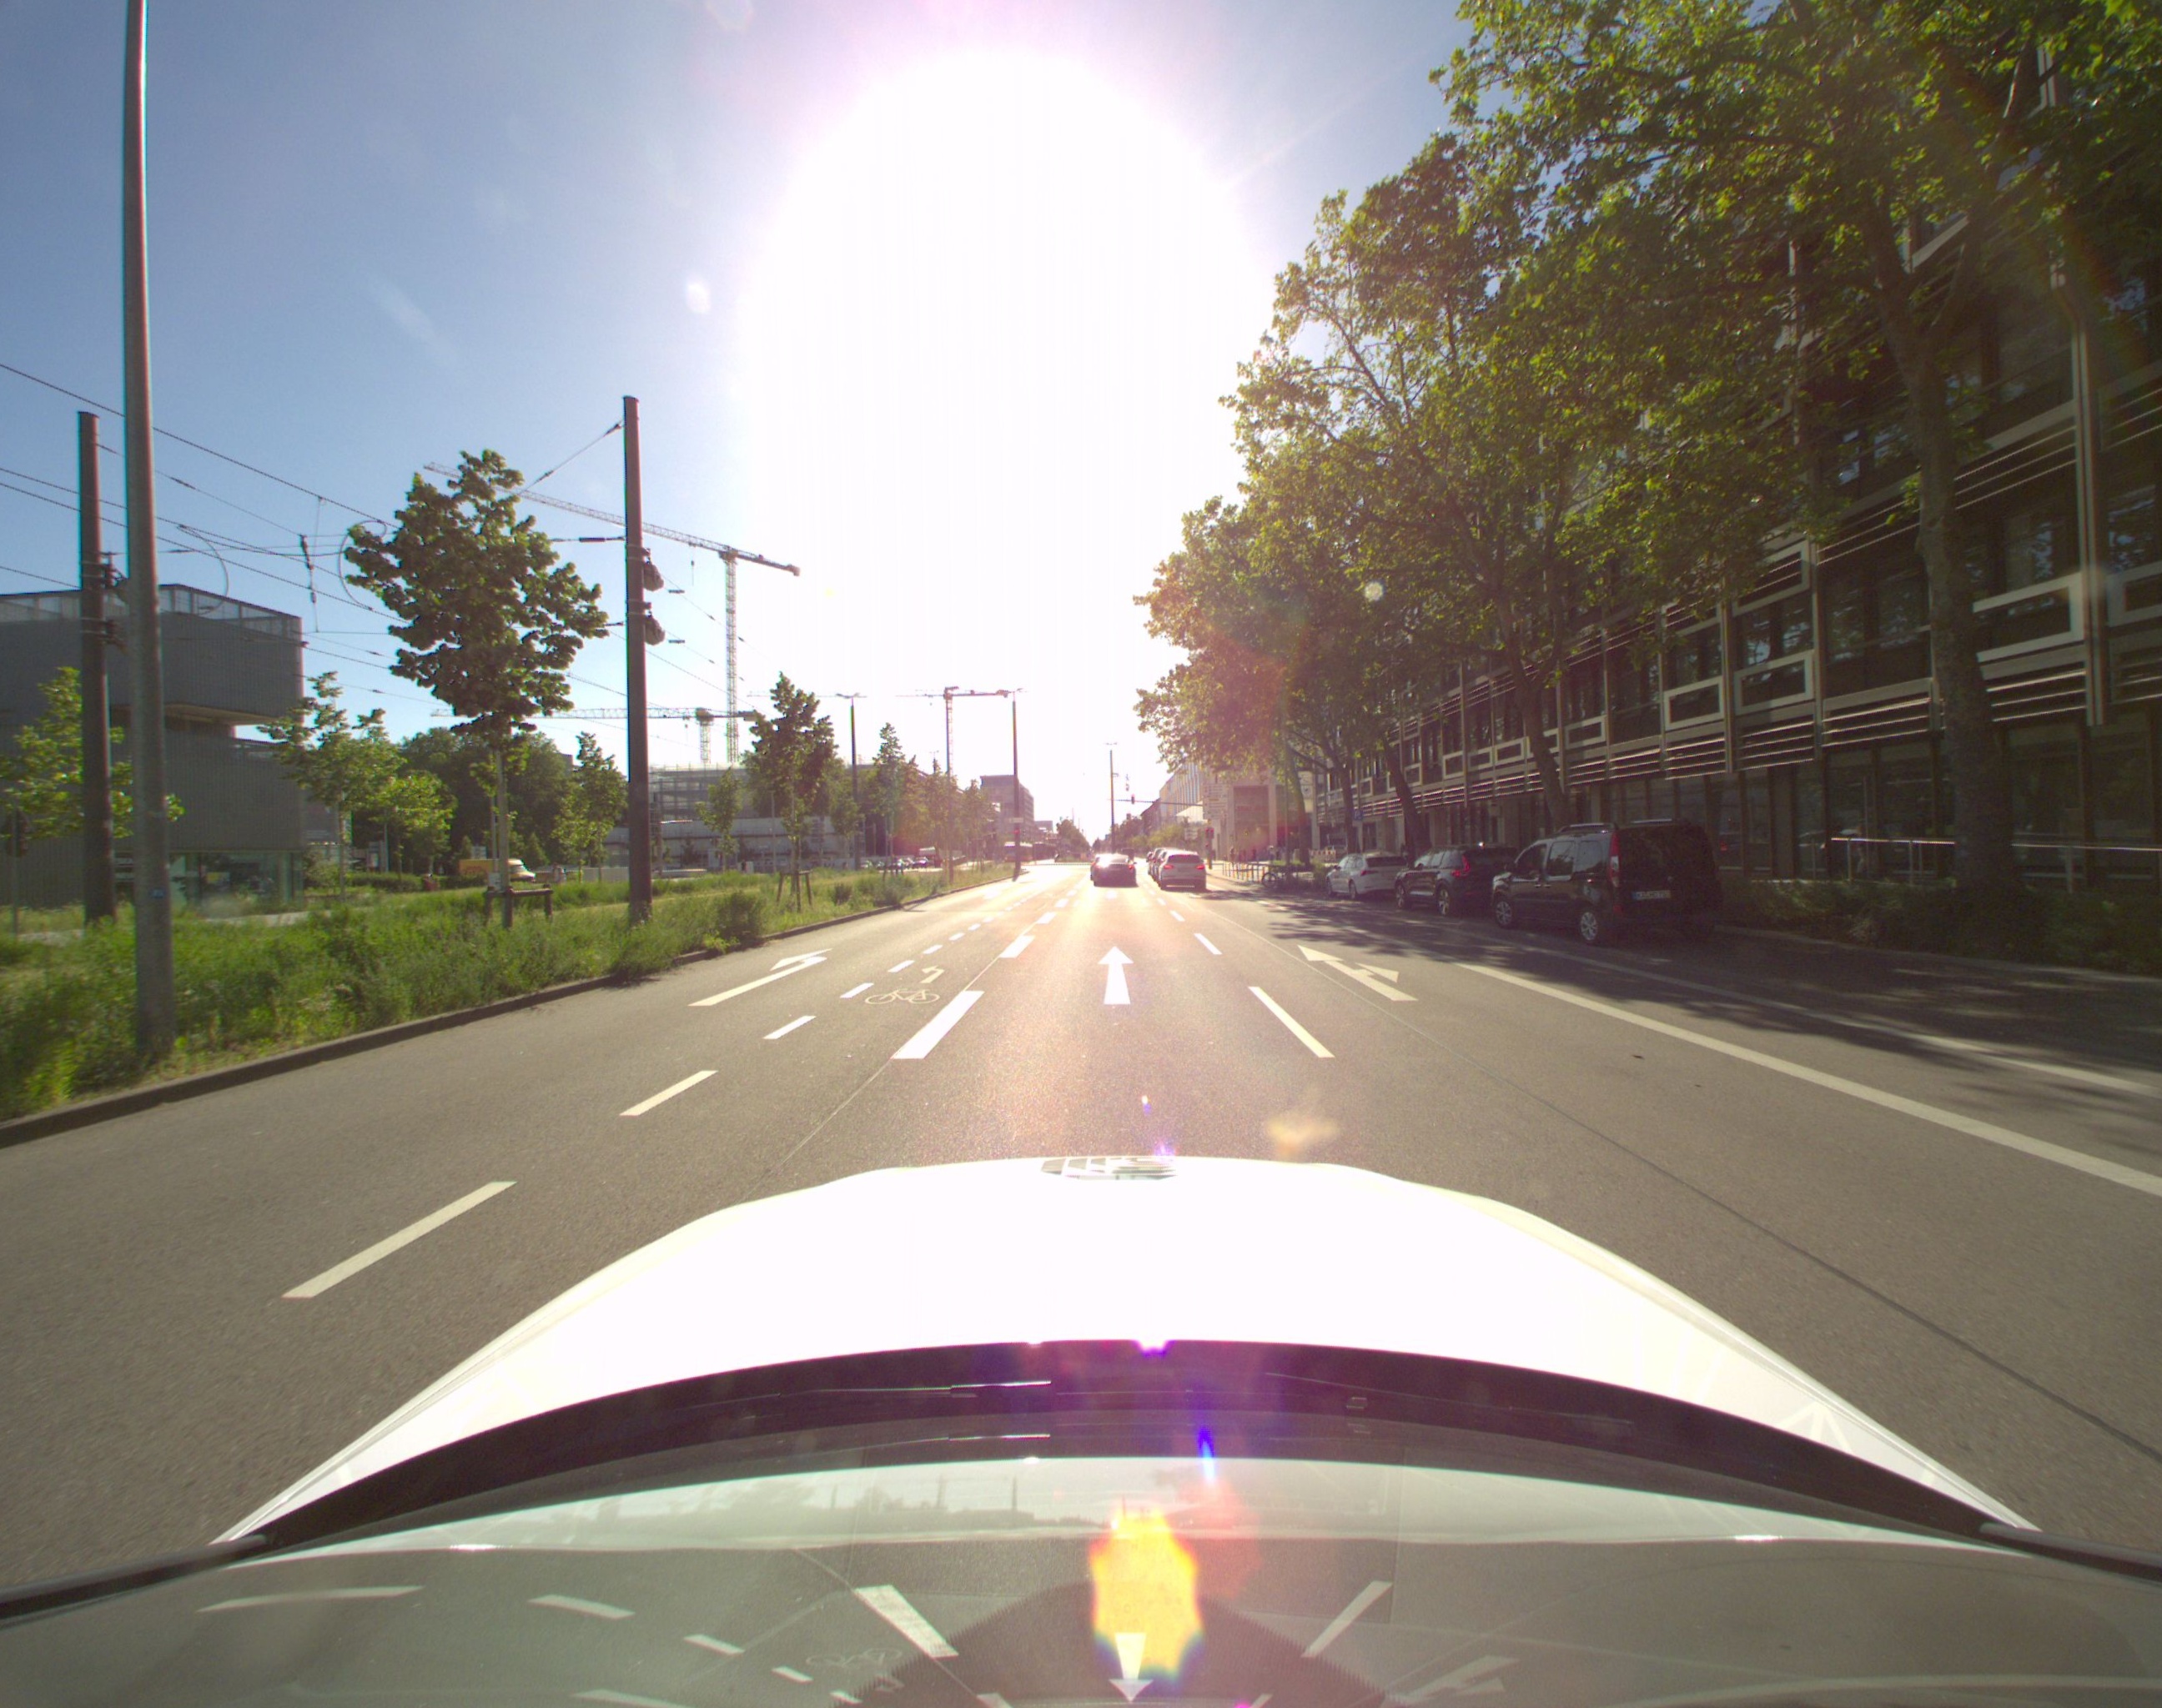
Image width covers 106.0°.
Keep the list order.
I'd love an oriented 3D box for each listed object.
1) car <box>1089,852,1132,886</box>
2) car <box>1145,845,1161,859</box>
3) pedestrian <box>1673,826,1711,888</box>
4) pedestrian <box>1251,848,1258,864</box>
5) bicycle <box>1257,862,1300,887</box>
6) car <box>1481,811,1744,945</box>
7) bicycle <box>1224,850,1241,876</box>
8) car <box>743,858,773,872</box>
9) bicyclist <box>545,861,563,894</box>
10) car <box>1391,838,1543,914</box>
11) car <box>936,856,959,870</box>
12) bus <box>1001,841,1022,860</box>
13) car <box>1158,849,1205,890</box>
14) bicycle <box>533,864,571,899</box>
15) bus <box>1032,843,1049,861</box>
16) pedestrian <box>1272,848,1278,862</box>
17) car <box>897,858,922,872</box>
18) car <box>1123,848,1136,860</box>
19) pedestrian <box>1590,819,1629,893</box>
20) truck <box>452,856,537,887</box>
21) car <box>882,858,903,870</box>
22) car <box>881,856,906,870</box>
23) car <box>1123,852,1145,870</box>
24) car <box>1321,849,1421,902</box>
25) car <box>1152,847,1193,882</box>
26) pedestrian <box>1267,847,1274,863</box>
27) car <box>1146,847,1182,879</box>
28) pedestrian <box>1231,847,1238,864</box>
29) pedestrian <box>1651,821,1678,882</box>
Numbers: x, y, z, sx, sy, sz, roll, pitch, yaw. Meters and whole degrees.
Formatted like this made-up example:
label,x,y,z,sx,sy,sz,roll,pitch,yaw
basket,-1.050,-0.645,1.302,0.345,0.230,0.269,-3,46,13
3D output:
label,x,y,z,sx,sy,sz,roll,pitch,yaw
car,1.381,0.677,38.642,1.905,1.486,4.010,-1,0,1
car,10.113,-0.258,114.761,1.986,2.014,4.002,0,-1,2
pedestrian,16.028,0.068,21.360,0.551,1.603,0.573,-1,0,2
pedestrian,15.043,0.189,70.780,0.559,1.440,0.633,0,-1,9
bicycle,8.360,0.882,34.488,1.689,0.957,0.478,-3,0,-3
car,8.554,0.328,13.623,1.697,1.790,4.194,-3,0,2
bicycle,8.815,0.537,47.571,0.560,1.440,2.577,0,-1,1
car,-37.117,1.209,93.640,1.704,1.556,4.002,0,-1,2
bicyclist,-23.604,1.062,36.476,0.393,1.454,0.540,0,0,1
car,8.918,0.467,19.225,1.697,1.563,4.194,-1,0,2
car,-11.432,0.778,70.043,1.371,1.178,3.221,0,-1,1
bus,-11.121,-0.480,130.258,2.619,2.783,8.841,1,-1,0
car,4.267,0.610,35.126,1.714,1.618,4.190,-1,0,4
bicycle,-23.608,1.214,36.389,0.359,1.455,1.915,-1,0,2
bus,-7.220,-0.314,146.958,2.619,2.959,9.895,1,-1,0
pedestrian,19.118,0.095,80.254,0.559,1.440,0.633,0,-1,9
car,-14.499,0.916,69.077,1.371,1.178,3.221,0,-1,1
car,8.131,0.039,136.245,1.986,2.014,4.002,0,-1,2
pedestrian,13.852,0.060,21.357,0.674,1.916,0.557,0,-1,2
truck,-58.614,1.752,81.480,6.940,2.963,2.000,0,-1,0
car,-25.532,1.387,110.487,1.830,1.612,3.897,0,-1,2
car,-16.238,0.763,70.579,1.371,1.178,3.221,0,-1,1
car,4.414,0.563,67.976,1.714,1.431,4.189,-1,0,3
car,9.156,0.610,26.122,1.697,1.492,4.603,-1,0,2
car,4.673,0.507,42.148,1.715,1.653,4.188,-1,0,2
pedestrian,16.729,0.112,71.830,0.559,1.440,0.633,0,-1,9
car,4.913,0.512,48.535,1.716,1.782,4.186,-1,0,1
pedestrian,13.041,0.151,69.087,0.559,1.440,0.633,0,-1,9
pedestrian,15.332,-0.068,21.407,0.314,1.584,0.500,-1,0,-7
